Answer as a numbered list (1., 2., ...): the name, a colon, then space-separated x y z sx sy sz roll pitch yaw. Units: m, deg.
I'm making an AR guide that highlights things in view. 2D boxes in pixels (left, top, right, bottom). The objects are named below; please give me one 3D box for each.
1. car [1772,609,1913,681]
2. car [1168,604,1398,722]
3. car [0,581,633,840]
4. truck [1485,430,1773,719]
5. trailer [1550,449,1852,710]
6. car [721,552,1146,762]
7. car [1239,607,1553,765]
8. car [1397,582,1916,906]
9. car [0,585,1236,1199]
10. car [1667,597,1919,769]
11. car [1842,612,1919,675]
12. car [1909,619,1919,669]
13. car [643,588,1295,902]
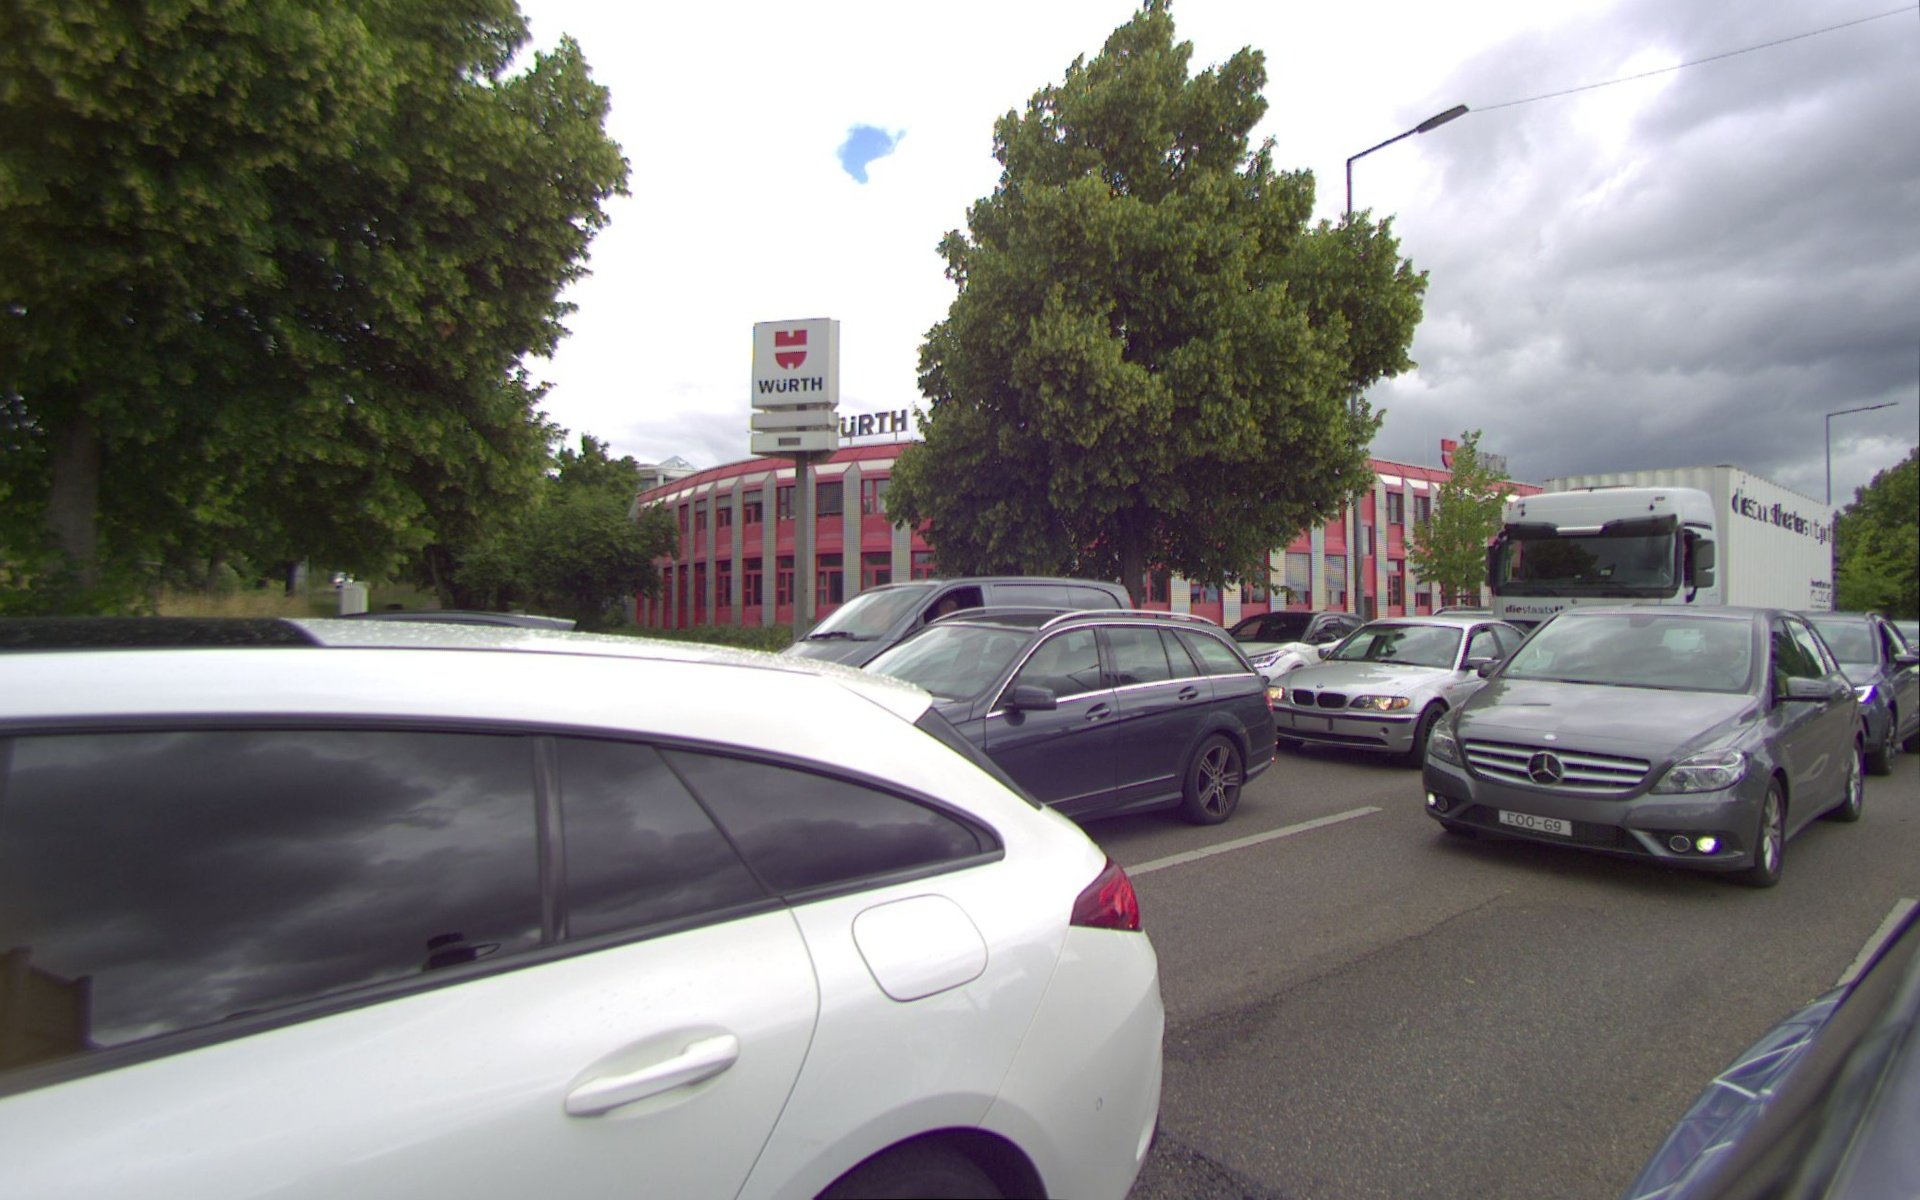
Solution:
1. car: 20.971 1.030 24.006 4.239 1.543 1.712 1 -1 -37
2. car: 4.855 0.836 14.988 3.620 1.515 1.644 0 0 -42
3. car: -4.341 0.668 7.242 3.569 1.456 1.519 0 -3 -31
4. truck: 10.238 -0.302 15.417 4.032 3.753 2.576 2 -1 -39
5. trailer: 13.423 -0.236 18.024 7.624 3.753 2.571 2 -1 -40
6. car: -0.136 0.504 10.943 4.425 1.826 1.829 0 0 -40
7. car: 4.864 0.777 10.993 1.812 1.371 4.051 0 -1 44
8. car: 4.855 0.693 6.838 4.111 1.543 1.803 0 0 -39
9. car: -1.605 0.699 1.256 4.281 1.440 1.724 0 0 -42
10. car: 9.183 0.744 10.781 3.928 1.505 1.702 1 0 -39
11. car: 25.940 1.155 27.571 4.319 1.581 1.851 1 -1 -34
12. car: 30.403 1.365 30.664 4.405 1.466 1.676 2 -1 -37
13. car: 0.261 0.691 6.727 4.137 1.453 1.829 1 0 -40
